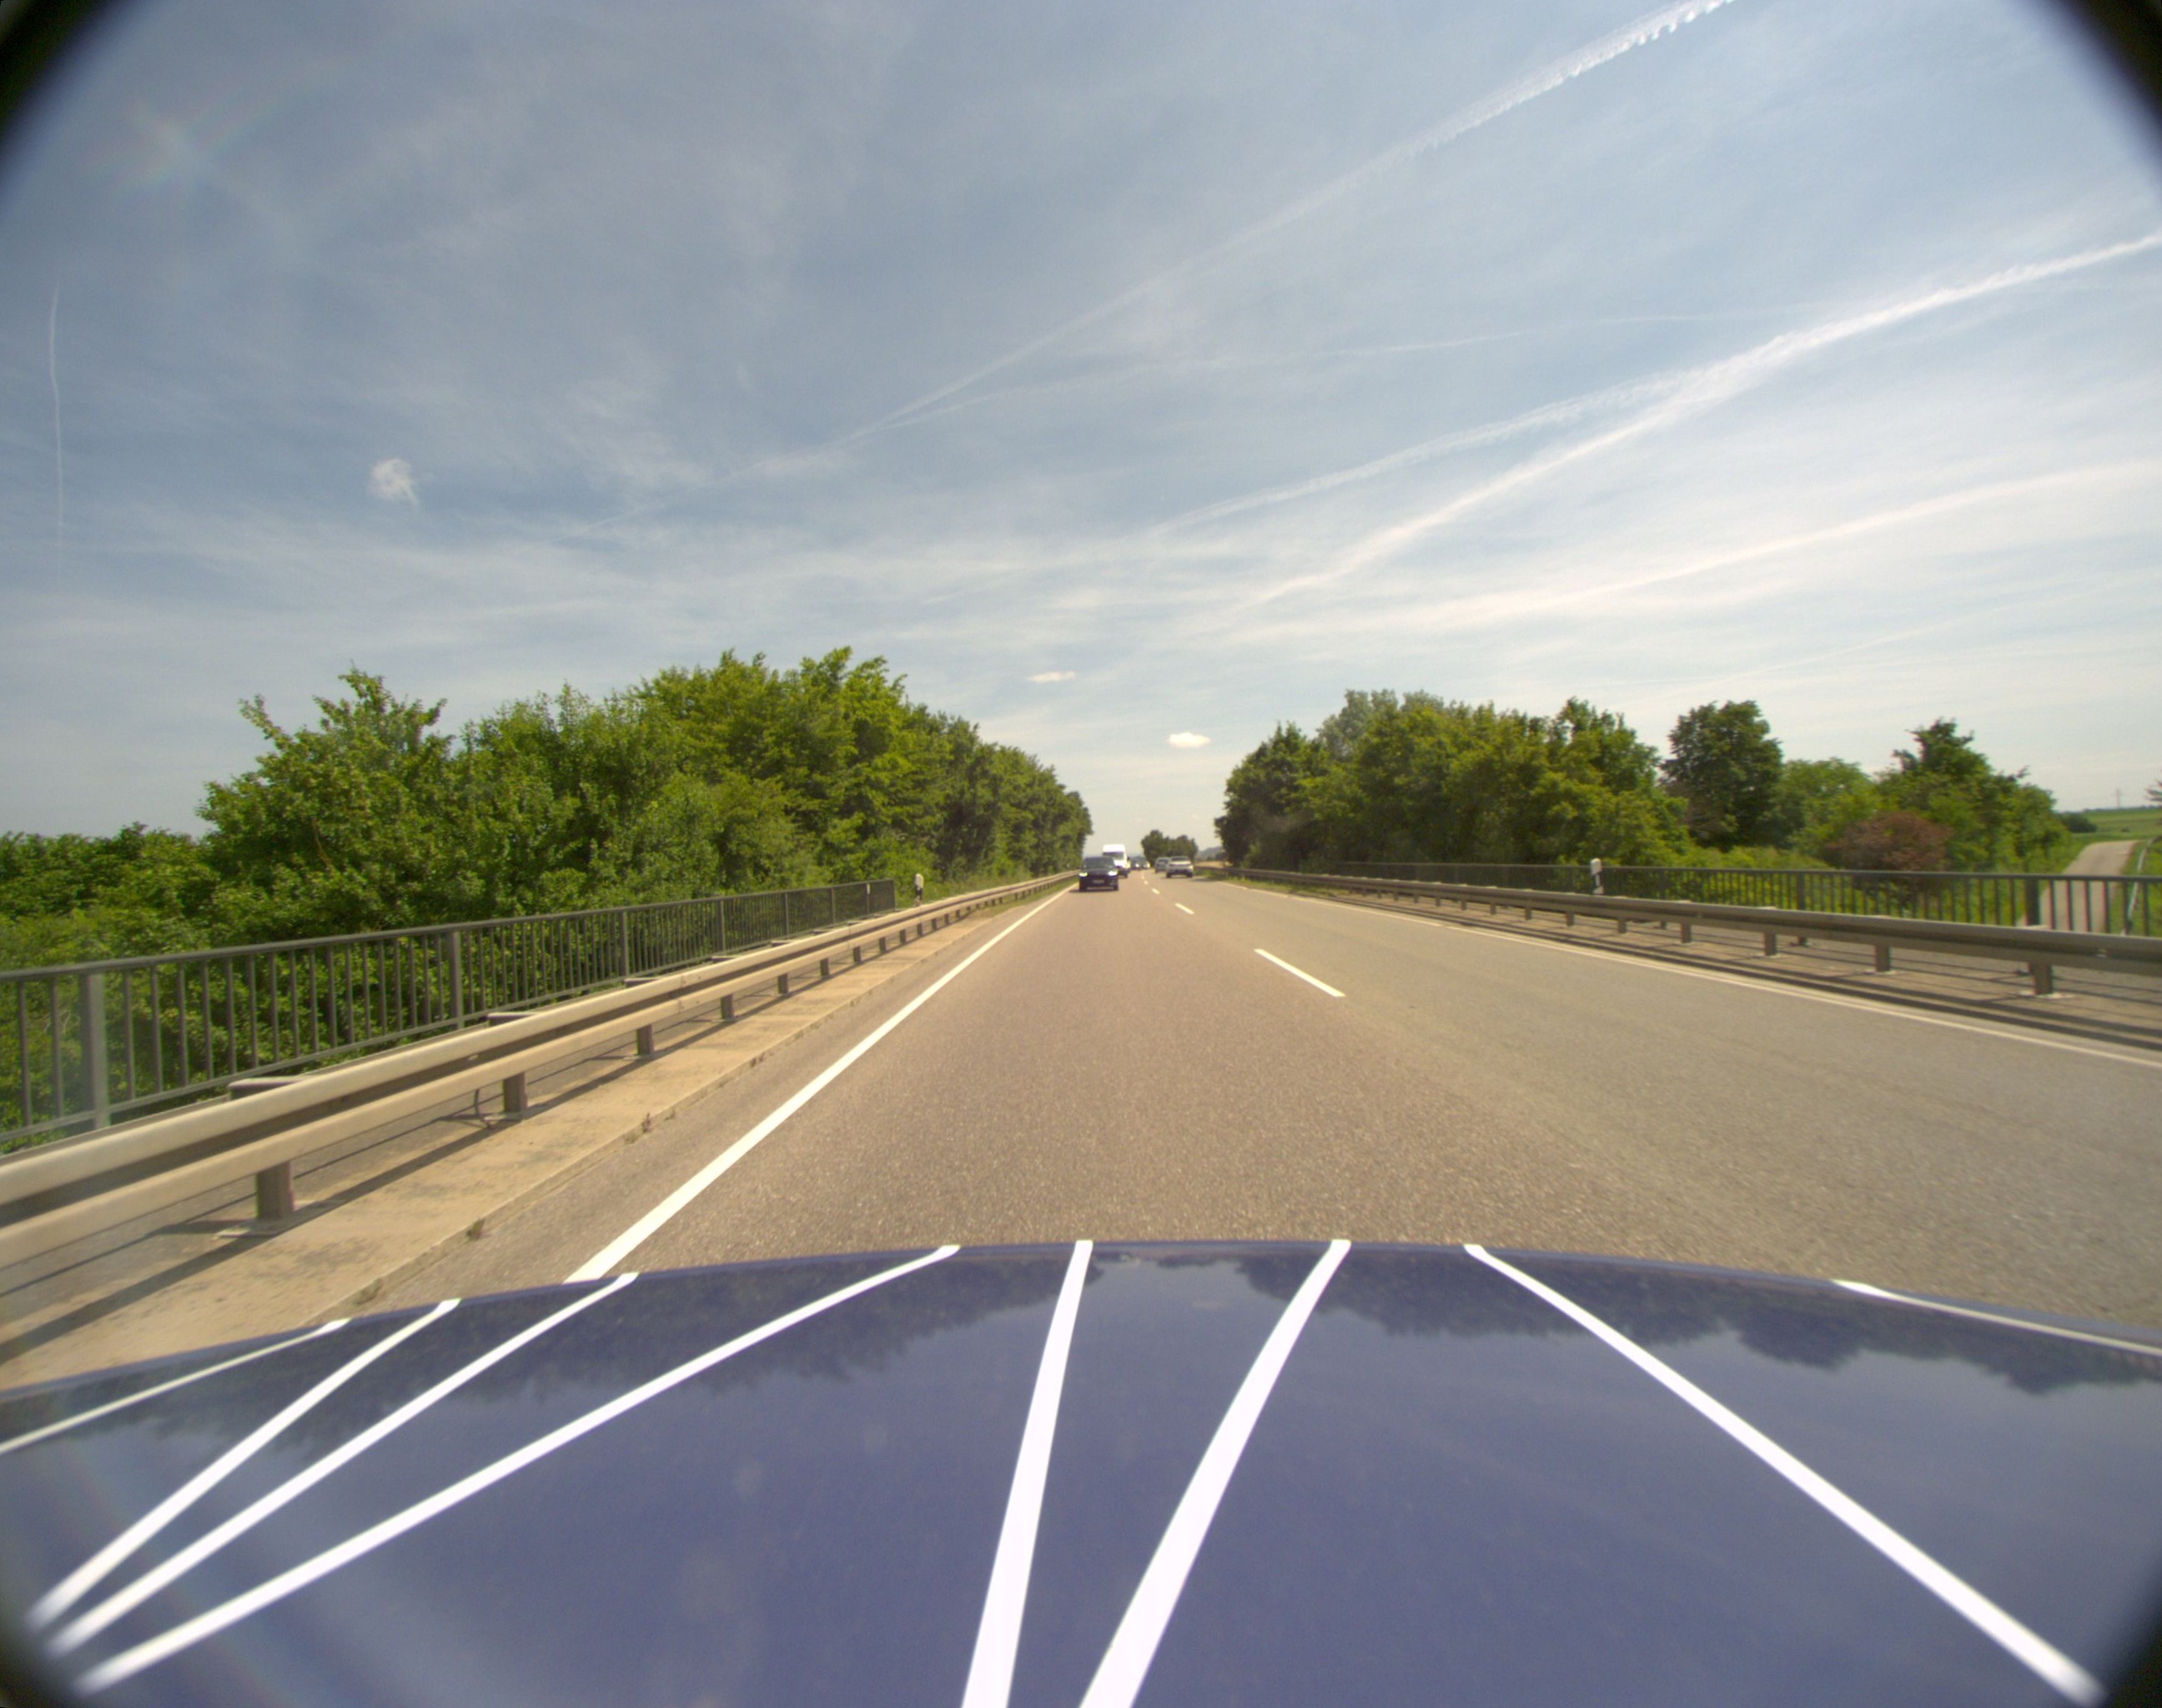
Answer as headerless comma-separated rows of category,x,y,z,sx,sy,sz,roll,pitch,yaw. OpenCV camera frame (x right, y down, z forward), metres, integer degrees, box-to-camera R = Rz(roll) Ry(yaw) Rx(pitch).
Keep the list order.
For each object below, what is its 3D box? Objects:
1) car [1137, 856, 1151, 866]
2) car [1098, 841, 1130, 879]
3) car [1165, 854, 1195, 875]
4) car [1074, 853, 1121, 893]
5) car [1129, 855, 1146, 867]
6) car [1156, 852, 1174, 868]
car,10.398,1.170,124.974,2.038,1.641,4.747,-1,0,7
car,2.623,0.405,59.124,2.225,2.618,5.753,-2,2,5
car,7.284,0.754,56.201,1.883,1.503,4.545,-1,0,4
car,0.832,0.844,37.277,2.039,1.691,5.513,-3,0,2
car,8.098,0.965,107.795,2.038,1.641,4.747,-1,0,8
car,8.684,0.584,78.604,1.663,1.542,4.339,-1,0,3
